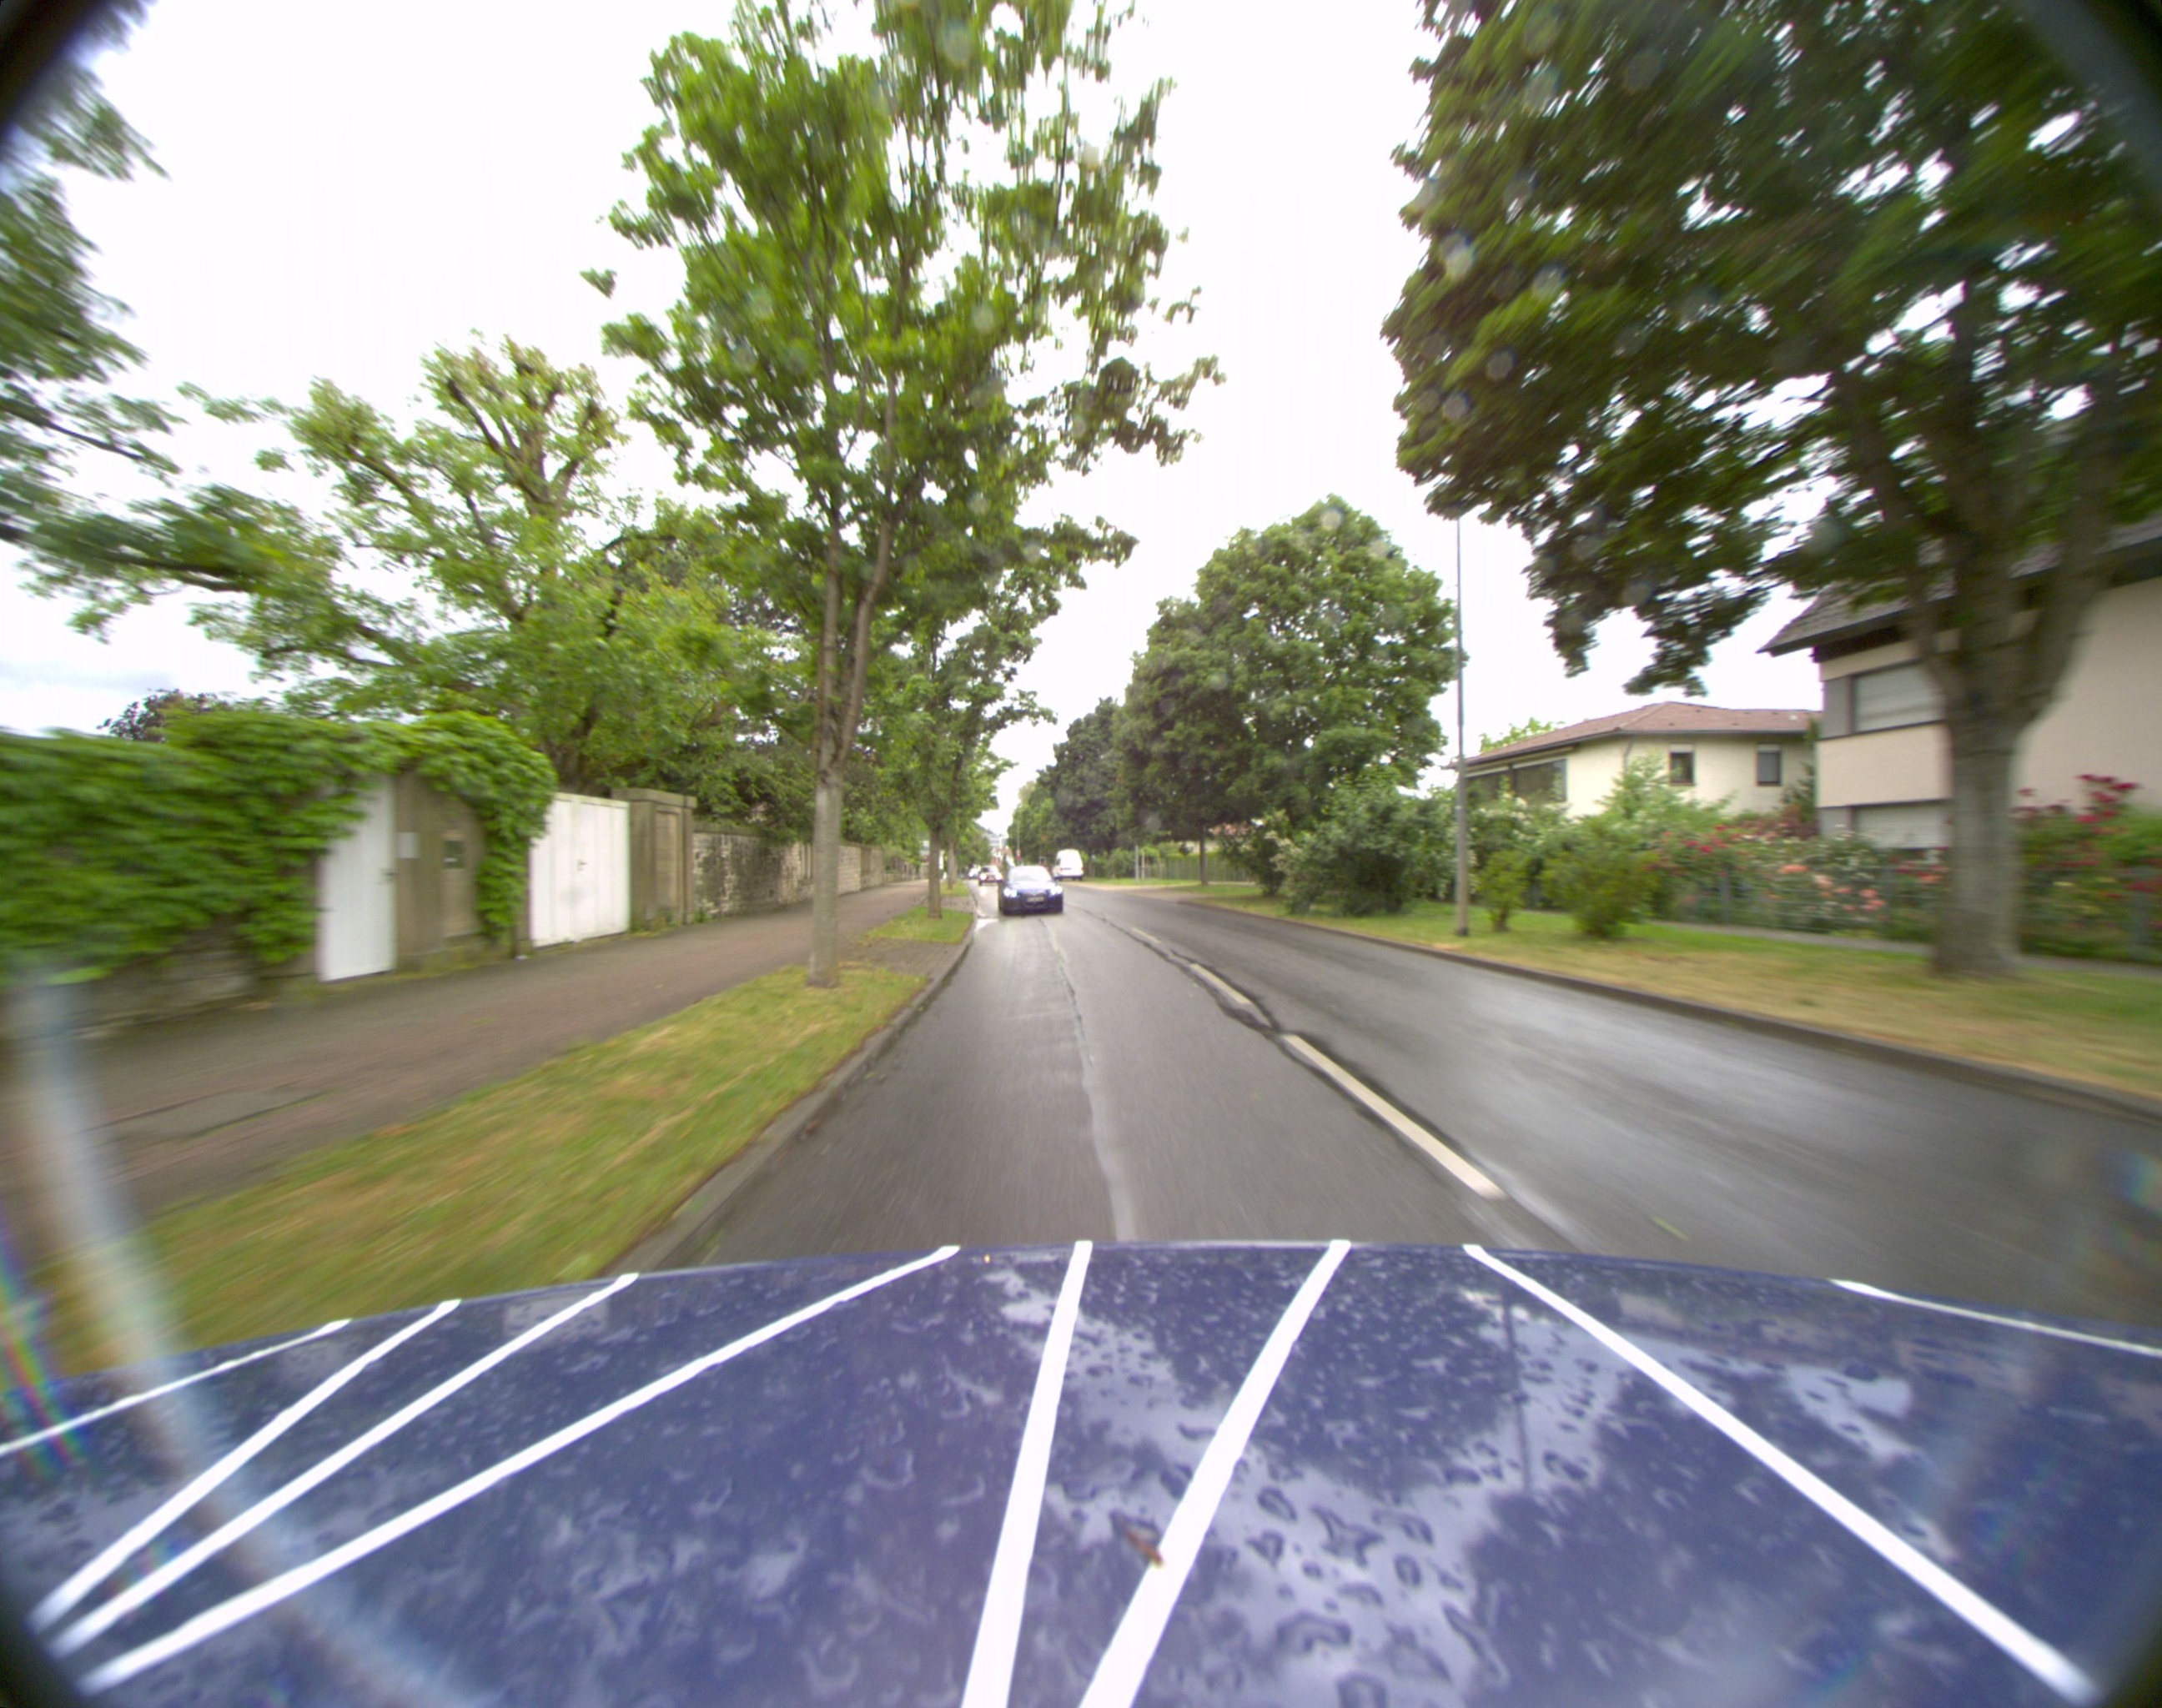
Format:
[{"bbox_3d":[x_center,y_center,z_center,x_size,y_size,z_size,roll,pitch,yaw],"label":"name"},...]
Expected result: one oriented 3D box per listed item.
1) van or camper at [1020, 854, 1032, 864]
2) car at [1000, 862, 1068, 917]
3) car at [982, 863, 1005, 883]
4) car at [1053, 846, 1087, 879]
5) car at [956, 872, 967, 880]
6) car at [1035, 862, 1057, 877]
[{"bbox_3d":[-15.429,1.434,212.583,2.147,2.593,5.785,0,0,7],"label":"van or camper"},{"bbox_3d":[-1.588,1.116,24.395,1.897,1.531,3.999,-3,-1,-7],"label":"car"},{"bbox_3d":[-6.867,1.510,59.852,1.657,1.443,3.999,-3,-1,-7],"label":"car"},{"bbox_3d":[-0.941,0.674,61.980,2.000,2.545,5.229,-1,-1,-10],"label":"car"},{"bbox_3d":[-20.808,3.800,131.976,1.646,1.369,3.828,1,-2,-5],"label":"car"},{"bbox_3d":[-3.770,1.628,80.885,1.849,1.457,4.246,-1,-1,-10],"label":"car"}]
